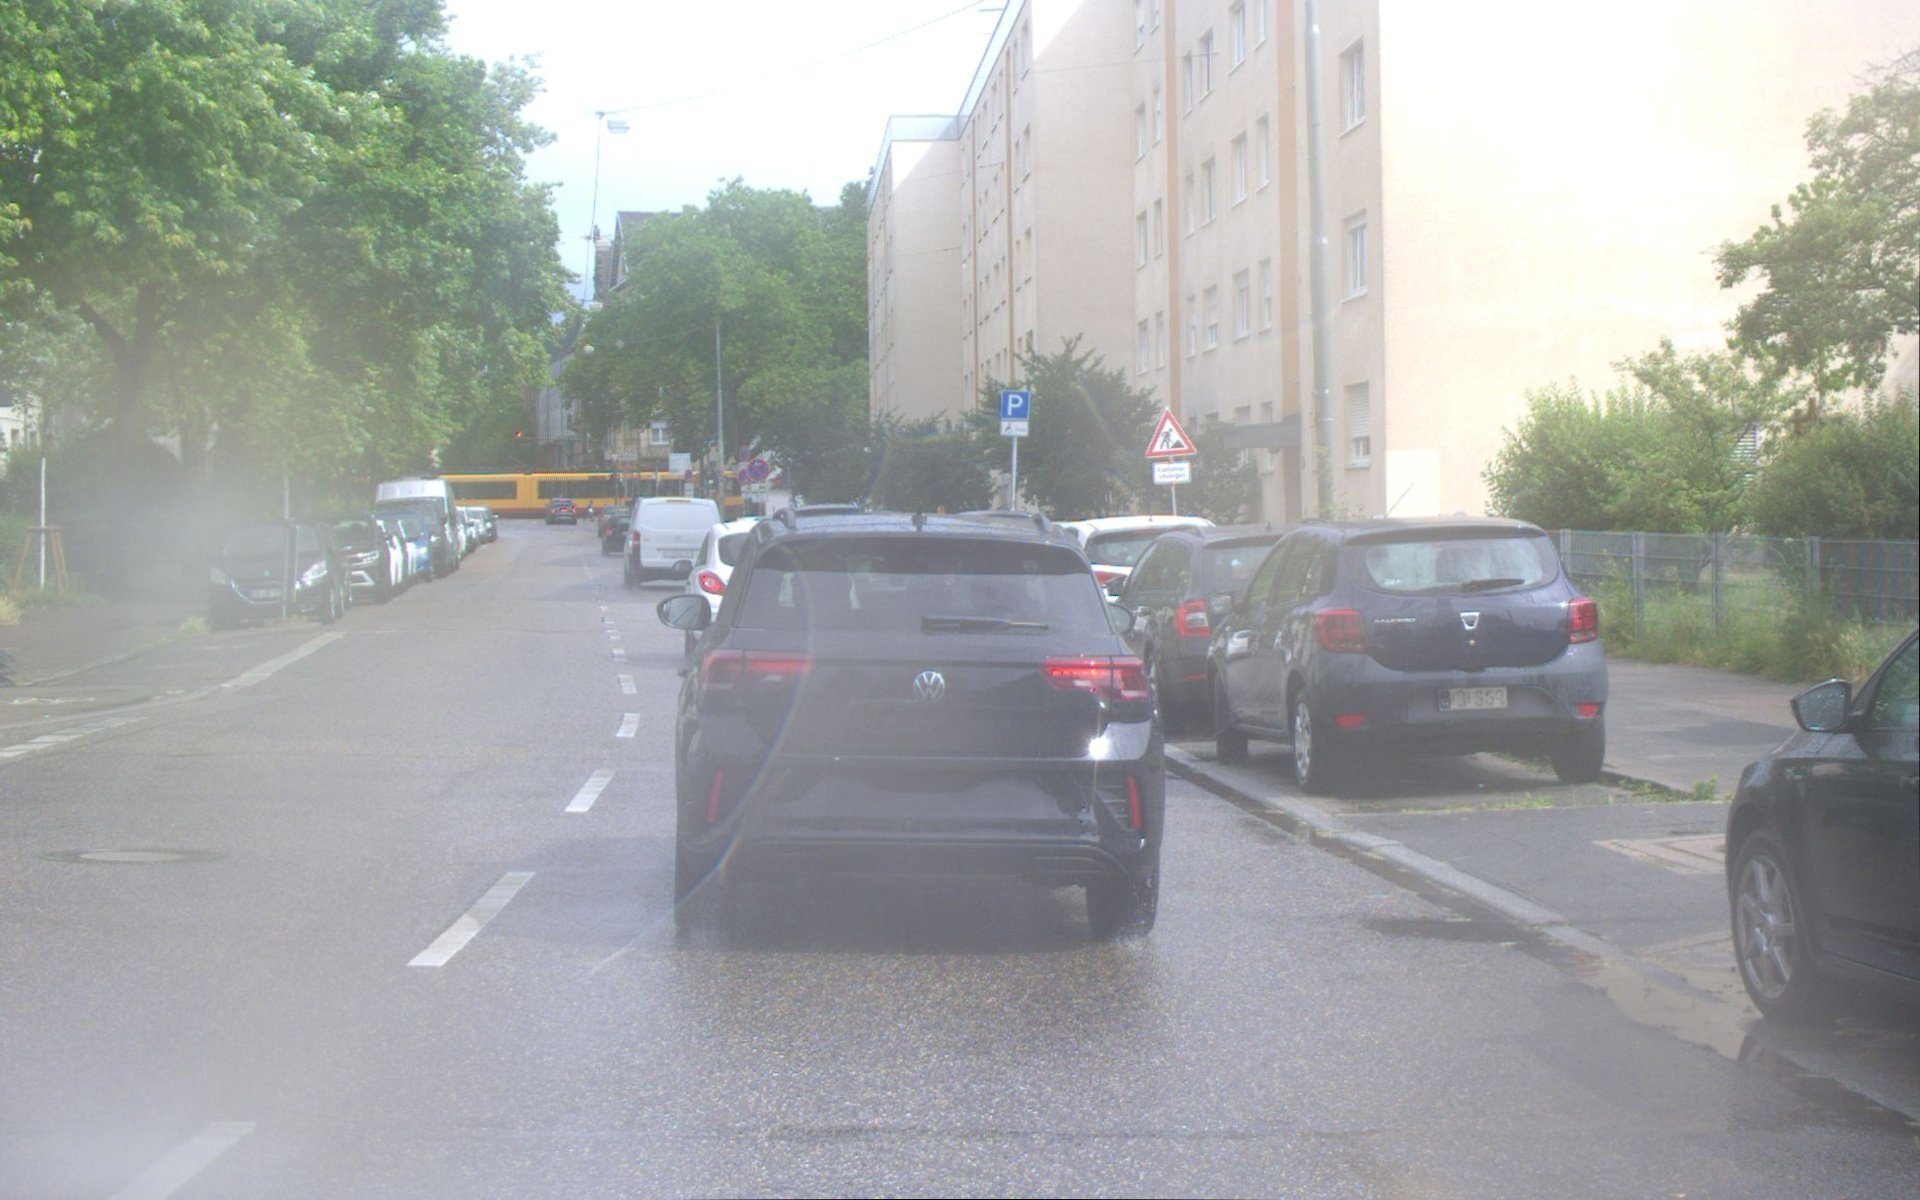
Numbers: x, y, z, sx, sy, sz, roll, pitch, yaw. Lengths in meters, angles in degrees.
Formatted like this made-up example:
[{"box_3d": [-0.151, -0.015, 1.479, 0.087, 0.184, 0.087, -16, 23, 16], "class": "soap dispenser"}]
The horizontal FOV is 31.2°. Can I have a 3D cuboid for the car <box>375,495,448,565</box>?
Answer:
[{"box_3d": [-13.401, -1.726, 84.080, 1.585, 1.633, 3.921, -2, 2, -7], "class": "car"}]

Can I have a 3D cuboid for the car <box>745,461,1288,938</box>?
[{"box_3d": [0.098, 0.317, 14.062, 1.873, 1.640, 4.062, 1, 1, -3], "class": "car"}]

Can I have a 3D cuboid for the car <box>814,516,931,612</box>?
[{"box_3d": [-1.526, -0.643, 58.746, 1.604, 1.500, 4.033, -2, 2, -7], "class": "car"}]

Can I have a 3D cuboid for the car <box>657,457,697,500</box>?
[{"box_3d": [-12.378, -5.308, 150.451, 1.665, 1.831, 4.001, -2, 2, -5], "class": "car"}]

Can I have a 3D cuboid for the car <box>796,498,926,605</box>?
[{"box_3d": [-1.553, -0.777, 52.877, 1.695, 1.533, 4.033, -2, 2, -5], "class": "car"}]

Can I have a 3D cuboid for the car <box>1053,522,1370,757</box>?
[{"box_3d": [1.757, 0.223, 25.257, 1.604, 1.503, 4.161, -3, 1, -5], "class": "car"}]

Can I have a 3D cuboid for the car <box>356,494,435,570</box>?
[{"box_3d": [-12.843, -1.562, 78.356, 1.585, 1.633, 3.921, -2, 2, -7], "class": "car"}]

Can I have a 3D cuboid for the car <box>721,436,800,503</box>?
[{"box_3d": [-5.072, -3.320, 87.591, 1.840, 1.602, 3.676, -2, 2, -2], "class": "car"}]

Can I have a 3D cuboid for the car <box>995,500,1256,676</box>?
[{"box_3d": [1.455, -0.101, 31.747, 1.748, 1.503, 4.112, -1, 0, -7], "class": "car"}]

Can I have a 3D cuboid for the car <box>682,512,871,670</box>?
[{"box_3d": [-1.882, -0.114, 35.481, 1.813, 1.498, 4.001, 1, 1, -3], "class": "car"}]

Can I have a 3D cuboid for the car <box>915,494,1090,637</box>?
[{"box_3d": [0.481, -0.473, 42.899, 1.604, 1.655, 4.033, 1, 2, -7], "class": "car"}]

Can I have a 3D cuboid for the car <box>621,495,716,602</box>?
[{"box_3d": [-5.921, -1.056, 70.233, 1.836, 2.095, 4.001, 1, 1, -4], "class": "car"}]

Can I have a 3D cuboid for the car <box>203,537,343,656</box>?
[{"box_3d": [-9.619, -0.087, 48.361, 1.585, 1.500, 4.066, -2, 2, -7], "class": "car"}]

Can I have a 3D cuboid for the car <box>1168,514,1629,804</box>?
[{"box_3d": [2.492, 0.282, 20.511, 1.756, 1.522, 4.001, -1, 1, -7], "class": "car"}]

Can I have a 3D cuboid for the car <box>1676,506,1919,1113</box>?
[{"box_3d": [3.361, 0.528, 8.826, 1.774, 1.534, 4.379, -3, 2, -4], "class": "car"}]
